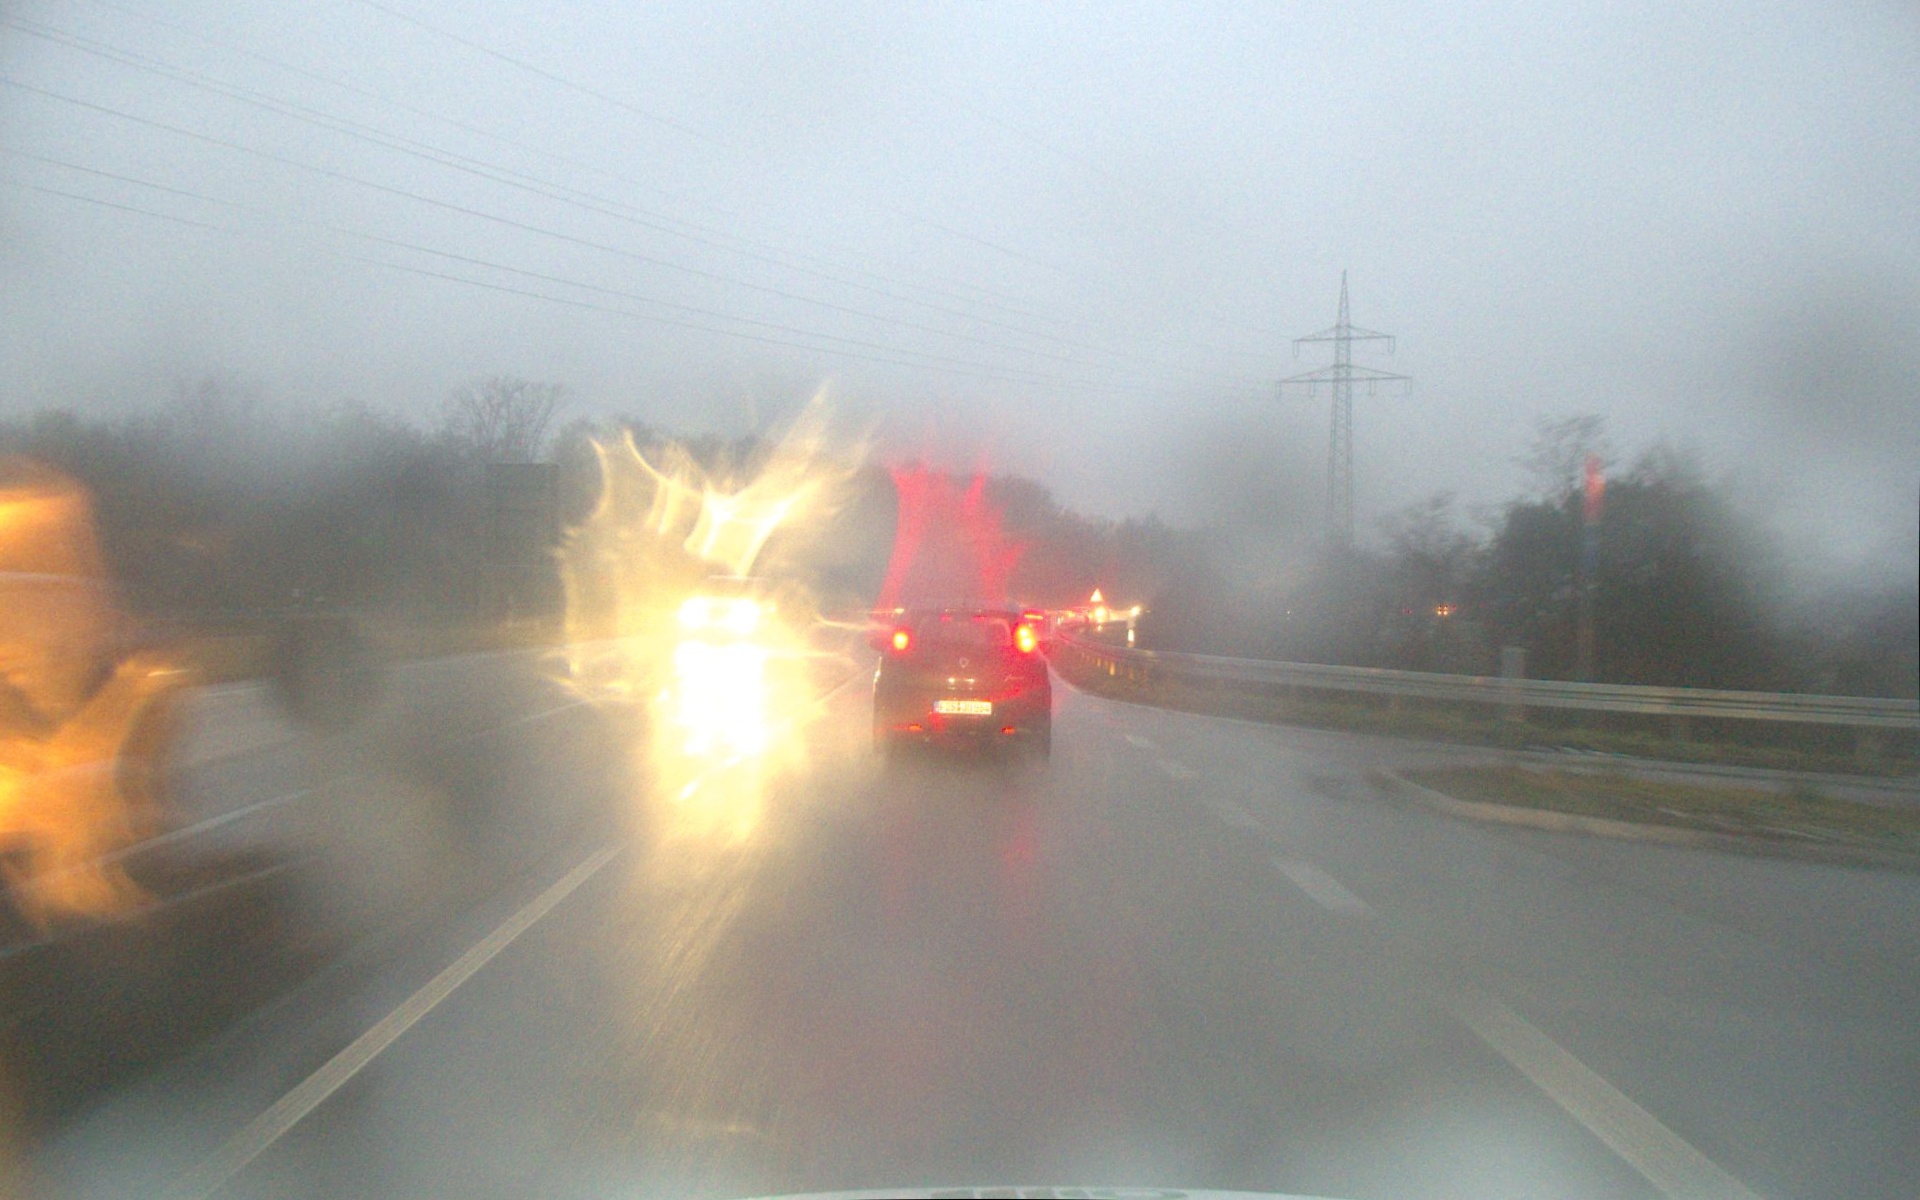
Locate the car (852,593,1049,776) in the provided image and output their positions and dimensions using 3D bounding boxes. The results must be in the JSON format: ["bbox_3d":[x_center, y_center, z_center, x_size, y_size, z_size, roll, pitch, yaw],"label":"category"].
[{"bbox_3d":[-0.094,0.736,16.406,1.695,1.559,4.042,-1,0,0],"label":"car"}]

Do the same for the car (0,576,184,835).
[{"bbox_3d":[-6.477,0.632,10.073,1.613,1.527,4.000,-1,0,0],"label":"car"}]

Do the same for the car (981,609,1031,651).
[{"bbox_3d":[2.100,1.349,74.905,1.905,1.775,4.003,3,0,6],"label":"car"}]

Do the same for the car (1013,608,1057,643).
[{"bbox_3d":[4.244,1.408,92.714,1.905,1.774,4.003,5,0,9],"label":"car"}]

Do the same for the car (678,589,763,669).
[{"bbox_3d":[-6.978,0.804,48.680,1.834,2.174,5.178,-1,0,-1],"label":"car"}]
